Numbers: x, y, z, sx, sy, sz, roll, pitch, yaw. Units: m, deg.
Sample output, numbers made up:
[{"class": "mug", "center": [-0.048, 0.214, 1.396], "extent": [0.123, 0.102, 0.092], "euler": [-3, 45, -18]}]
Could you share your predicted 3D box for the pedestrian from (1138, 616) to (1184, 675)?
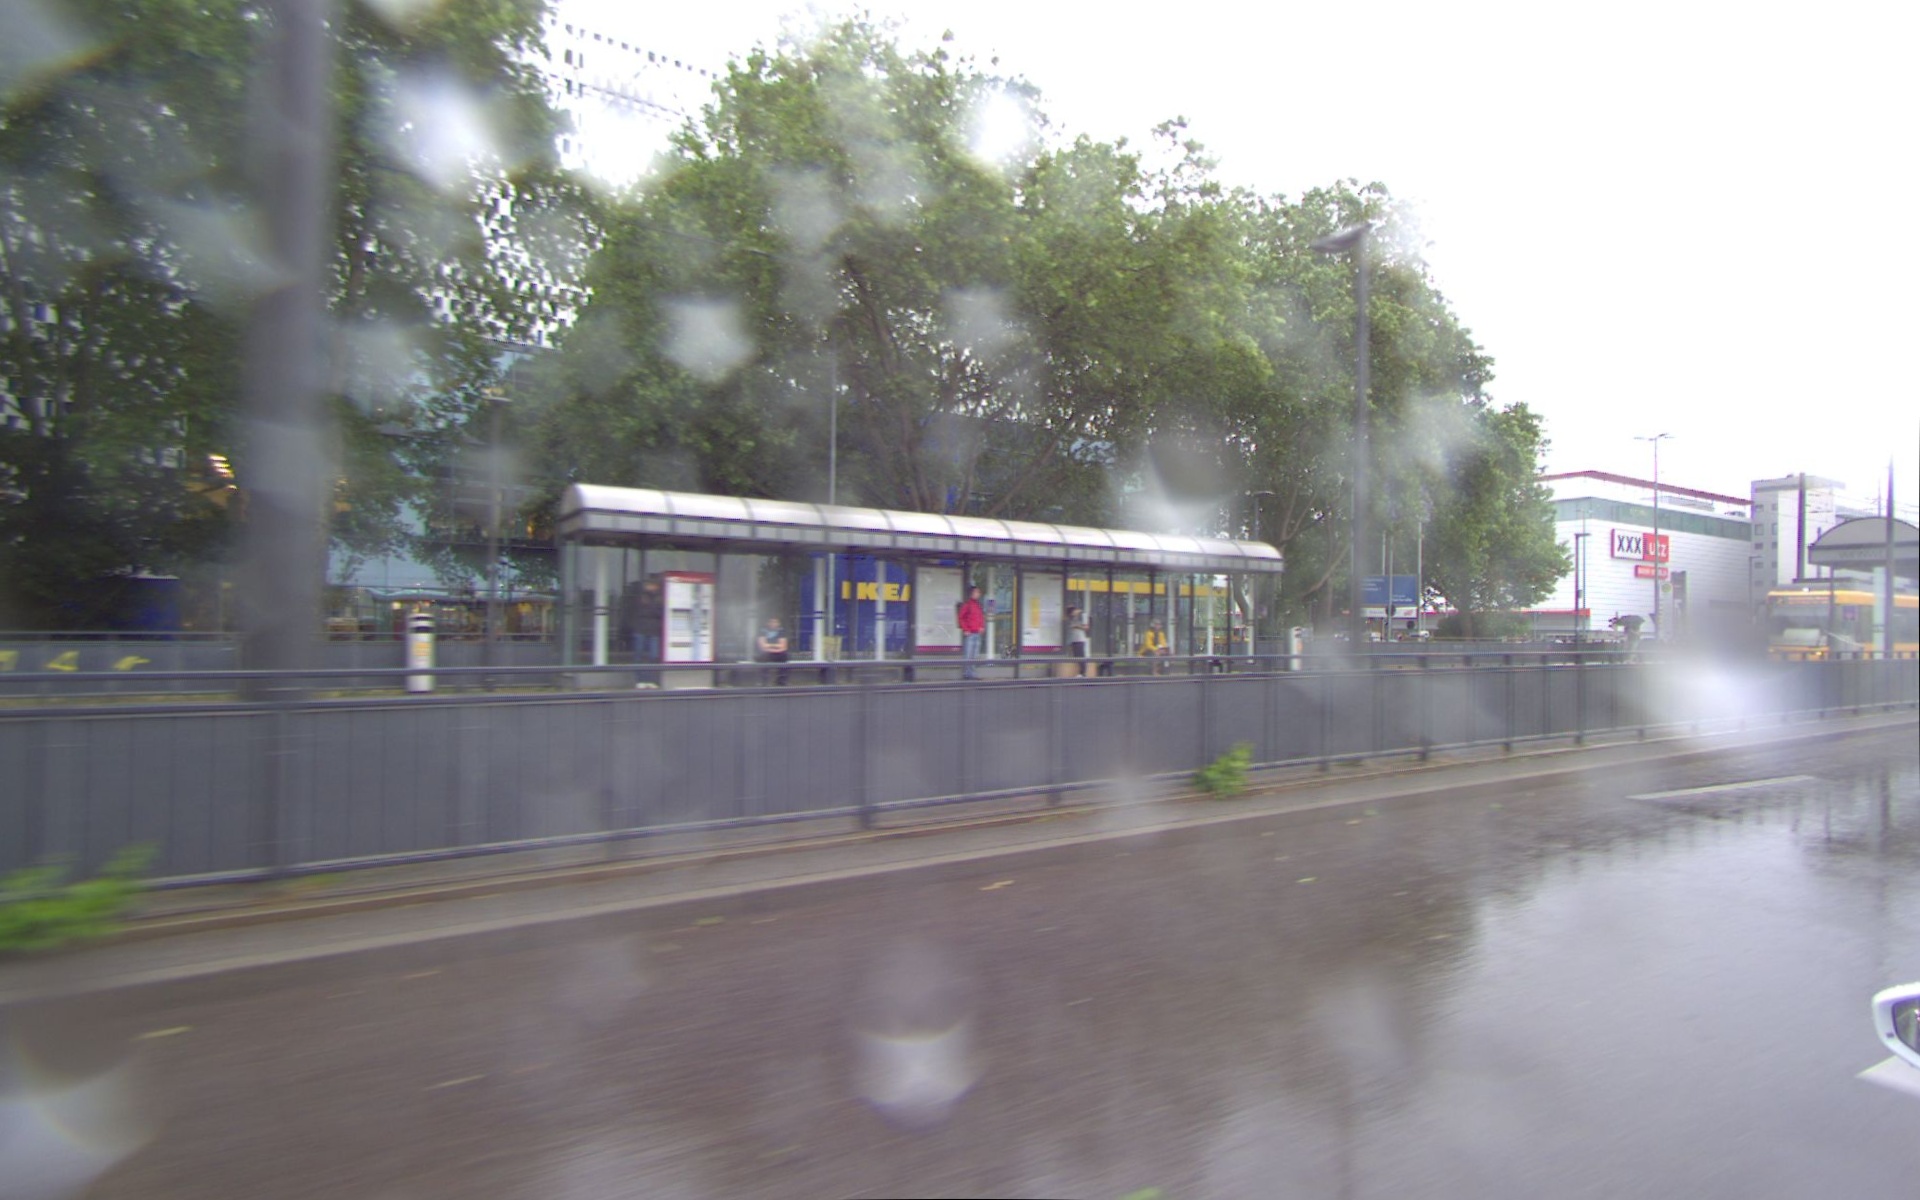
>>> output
[{"class": "pedestrian", "center": [4.694, 1.064, 23.502], "extent": [0.804, 1.320, 0.640], "euler": [2, 0, -27]}]

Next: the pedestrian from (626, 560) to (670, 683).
[{"class": "pedestrian", "center": [-5.305, 0.358, 17.068], "extent": [0.576, 2.040, 0.491], "euler": [2, 0, -30]}]

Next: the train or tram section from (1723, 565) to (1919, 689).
[{"class": "train or tram section", "center": [39.888, 1.252, 42.069], "extent": [26.802, 4.090, 3.748], "euler": [2, 0, -33]}]

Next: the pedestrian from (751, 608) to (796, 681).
[{"class": "pedestrian", "center": [-3.368, 0.803, 18.118], "extent": [0.655, 1.284, 0.491], "euler": [2, 0, -27]}]

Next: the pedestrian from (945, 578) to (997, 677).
[{"class": "pedestrian", "center": [0.220, 0.549, 20.230], "extent": [0.804, 1.959, 0.619], "euler": [2, 0, -27]}]

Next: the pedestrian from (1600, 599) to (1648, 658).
[{"class": "pedestrian", "center": [23.630, 1.017, 35.763], "extent": [1.086, 2.040, 1.080], "euler": [2, 0, -36]}]

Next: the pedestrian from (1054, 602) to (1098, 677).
[{"class": "pedestrian", "center": [2.555, 0.859, 22.150], "extent": [0.811, 1.582, 0.673], "euler": [2, 0, 16]}]
